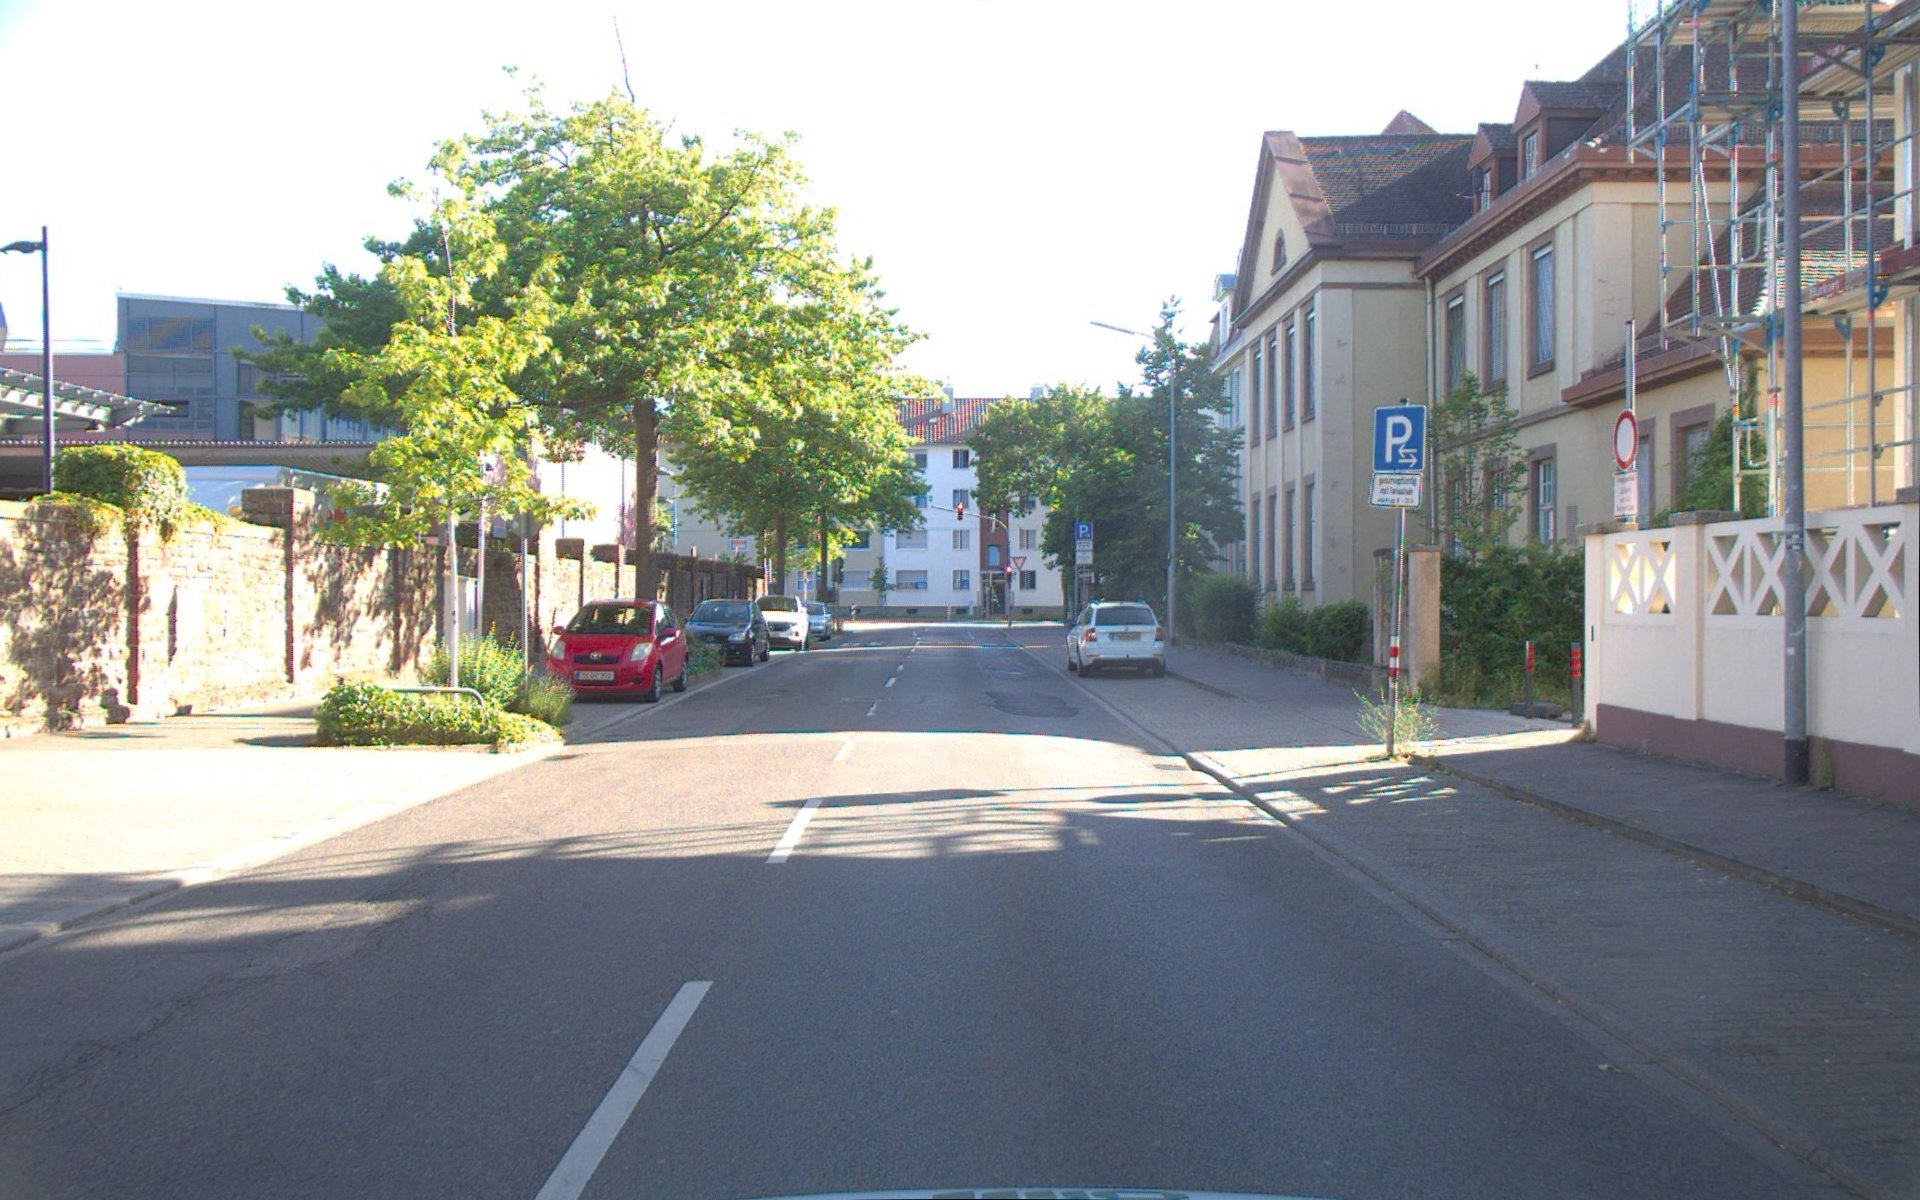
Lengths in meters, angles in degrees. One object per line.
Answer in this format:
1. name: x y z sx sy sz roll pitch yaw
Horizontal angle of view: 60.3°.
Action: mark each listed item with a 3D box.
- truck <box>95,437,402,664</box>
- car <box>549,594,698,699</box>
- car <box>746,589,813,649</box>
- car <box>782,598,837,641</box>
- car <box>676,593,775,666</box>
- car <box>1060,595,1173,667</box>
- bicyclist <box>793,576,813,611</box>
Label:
1. truck: -13.333 -0.841 31.814 2.677 3.776 7.427 2 0 -1
2. car: -5.245 0.681 26.199 1.576 1.484 3.708 2 0 0
3. car: -5.405 0.539 49.950 1.685 1.713 4.349 0 0 -2
4. car: -5.616 0.710 62.287 1.691 1.501 4.477 2 0 -1
5. car: -5.500 0.658 39.257 1.701 1.620 4.107 0 0 1
6. car: 3.122 0.590 33.877 1.795 1.346 4.495 -1 0 -1
7. bicyclist: -7.900 -0.322 83.337 0.782 1.788 0.603 1 0 -42
